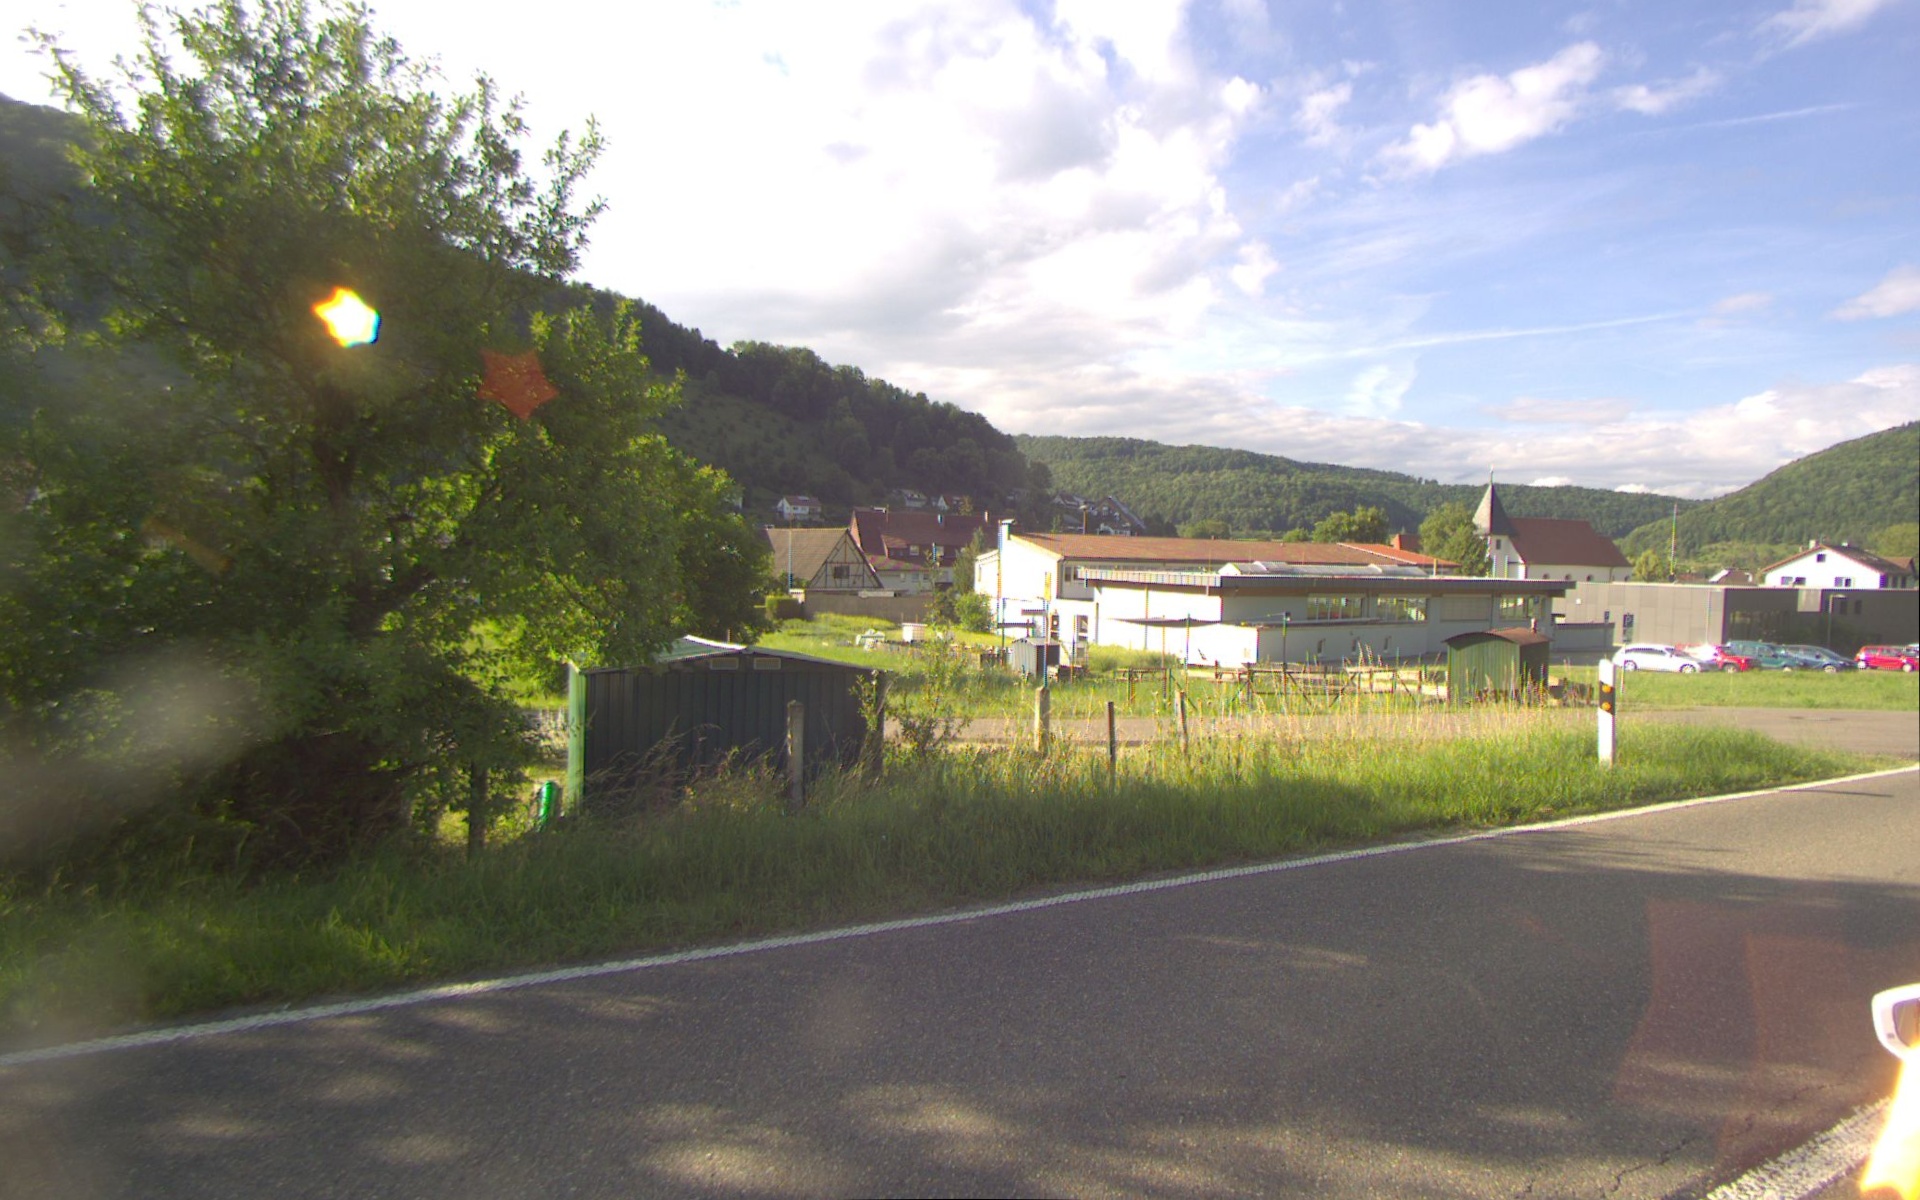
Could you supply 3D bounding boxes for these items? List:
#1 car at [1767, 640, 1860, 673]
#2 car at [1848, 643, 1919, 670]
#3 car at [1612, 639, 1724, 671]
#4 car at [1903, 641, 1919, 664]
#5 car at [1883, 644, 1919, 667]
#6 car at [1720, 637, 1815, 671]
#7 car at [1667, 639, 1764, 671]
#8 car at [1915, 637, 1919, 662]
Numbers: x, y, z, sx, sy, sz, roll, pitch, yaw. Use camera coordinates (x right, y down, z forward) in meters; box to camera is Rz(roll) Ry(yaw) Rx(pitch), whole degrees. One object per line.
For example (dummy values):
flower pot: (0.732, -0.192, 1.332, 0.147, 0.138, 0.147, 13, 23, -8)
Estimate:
car: (50.325, 3.300, 59.299, 1.709, 1.744, 3.805, 2, -1, -26)
car: (59.155, 3.575, 63.937, 1.626, 1.463, 3.613, 0, 1, -25)
car: (38.188, 2.956, 54.305, 1.974, 1.609, 4.626, 1, -2, -26)
car: (66.435, 3.579, 67.859, 1.575, 1.513, 3.656, 1, -2, -25)
car: (63.541, 3.671, 66.239, 1.575, 1.423, 3.614, 1, -2, -25)
car: (46.134, 3.054, 57.451, 1.734, 1.745, 3.846, 2, 0, -28)
car: (41.202, 2.995, 54.874, 1.733, 1.600, 3.907, 2, -1, -26)
car: (69.164, 3.471, 69.587, 1.575, 1.695, 4.065, 1, -2, -25)
